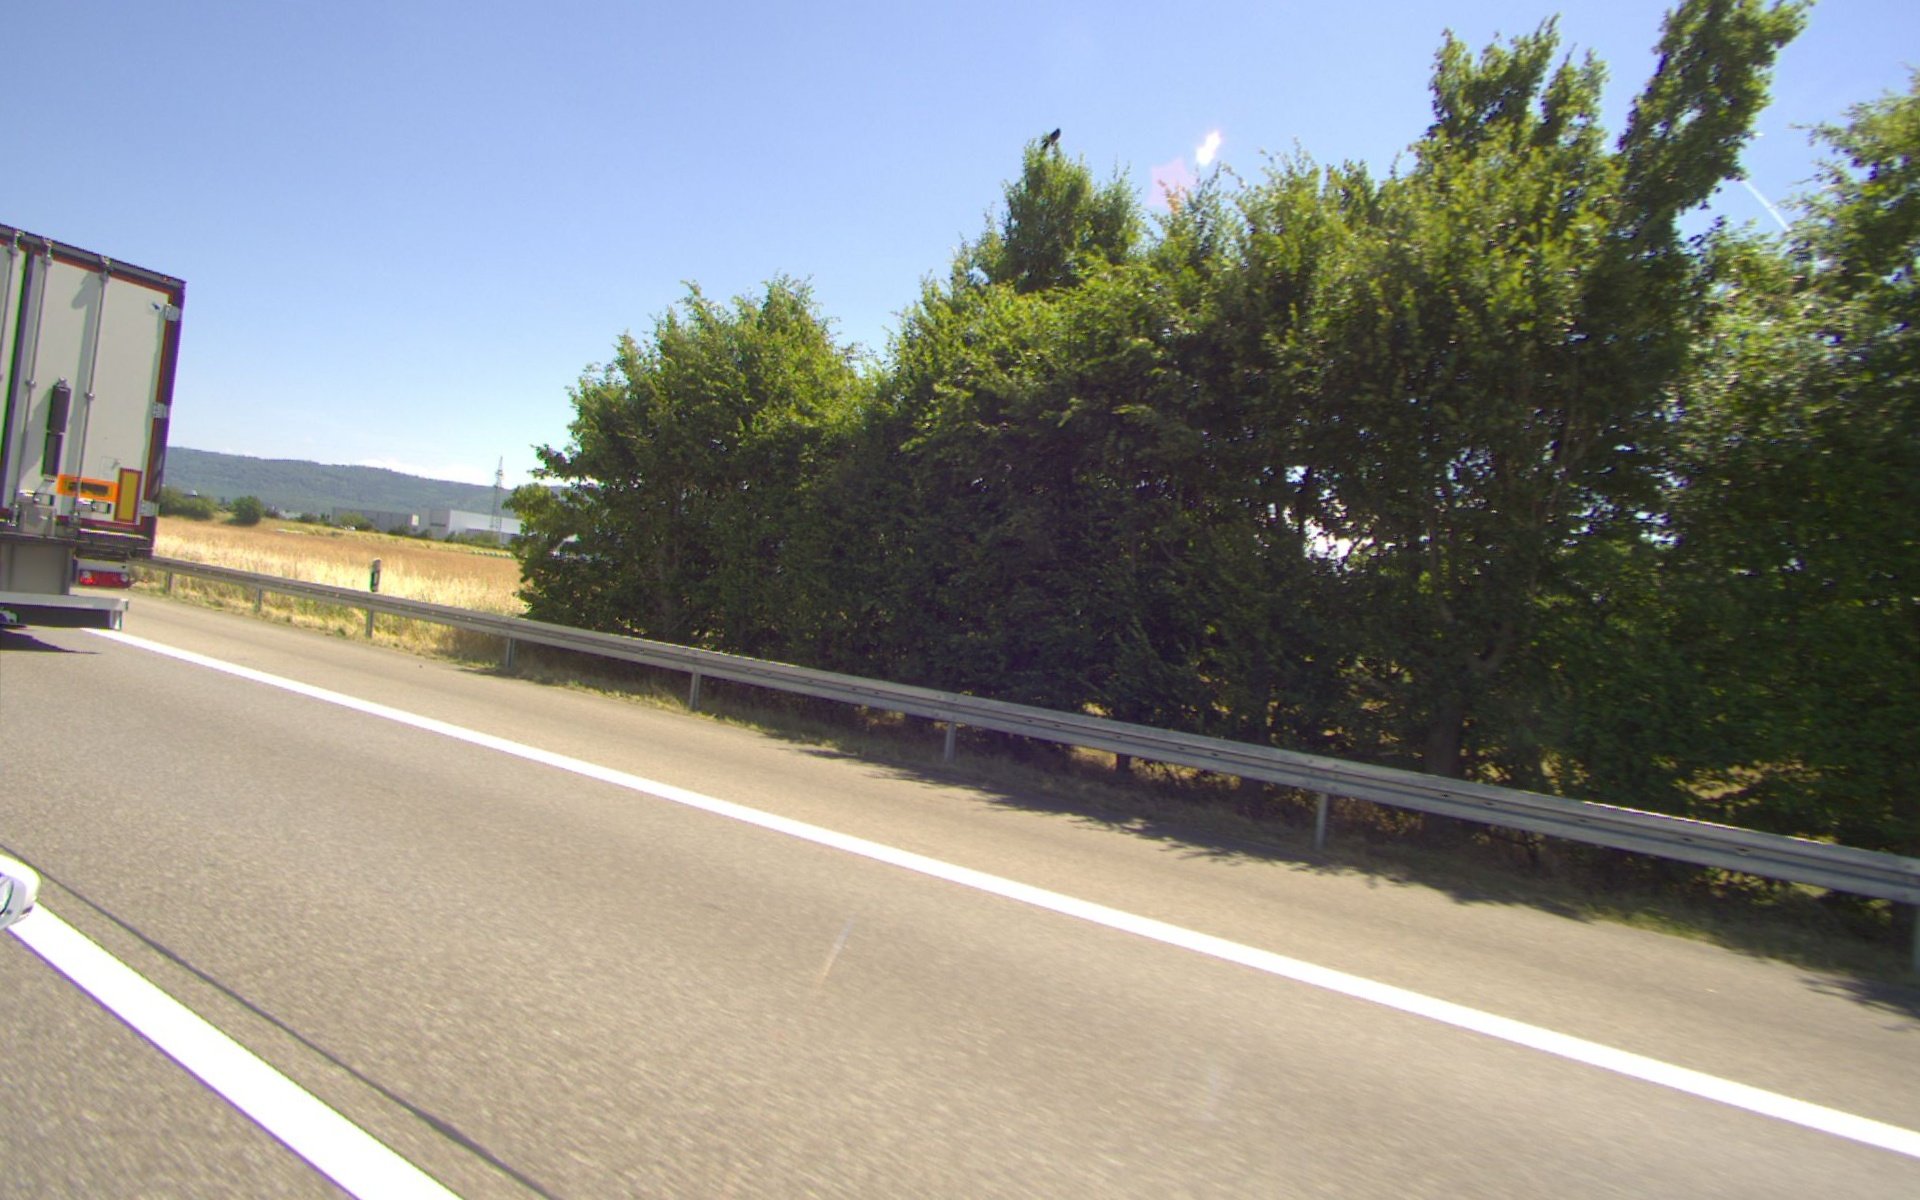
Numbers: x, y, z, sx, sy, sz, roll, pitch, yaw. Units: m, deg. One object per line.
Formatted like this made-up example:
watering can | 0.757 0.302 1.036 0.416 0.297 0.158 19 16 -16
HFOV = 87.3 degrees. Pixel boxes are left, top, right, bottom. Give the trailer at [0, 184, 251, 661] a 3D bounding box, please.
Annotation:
trailer | -14.686 -2.341 13.359 13.402 4.396 3.224 7 -1 32
